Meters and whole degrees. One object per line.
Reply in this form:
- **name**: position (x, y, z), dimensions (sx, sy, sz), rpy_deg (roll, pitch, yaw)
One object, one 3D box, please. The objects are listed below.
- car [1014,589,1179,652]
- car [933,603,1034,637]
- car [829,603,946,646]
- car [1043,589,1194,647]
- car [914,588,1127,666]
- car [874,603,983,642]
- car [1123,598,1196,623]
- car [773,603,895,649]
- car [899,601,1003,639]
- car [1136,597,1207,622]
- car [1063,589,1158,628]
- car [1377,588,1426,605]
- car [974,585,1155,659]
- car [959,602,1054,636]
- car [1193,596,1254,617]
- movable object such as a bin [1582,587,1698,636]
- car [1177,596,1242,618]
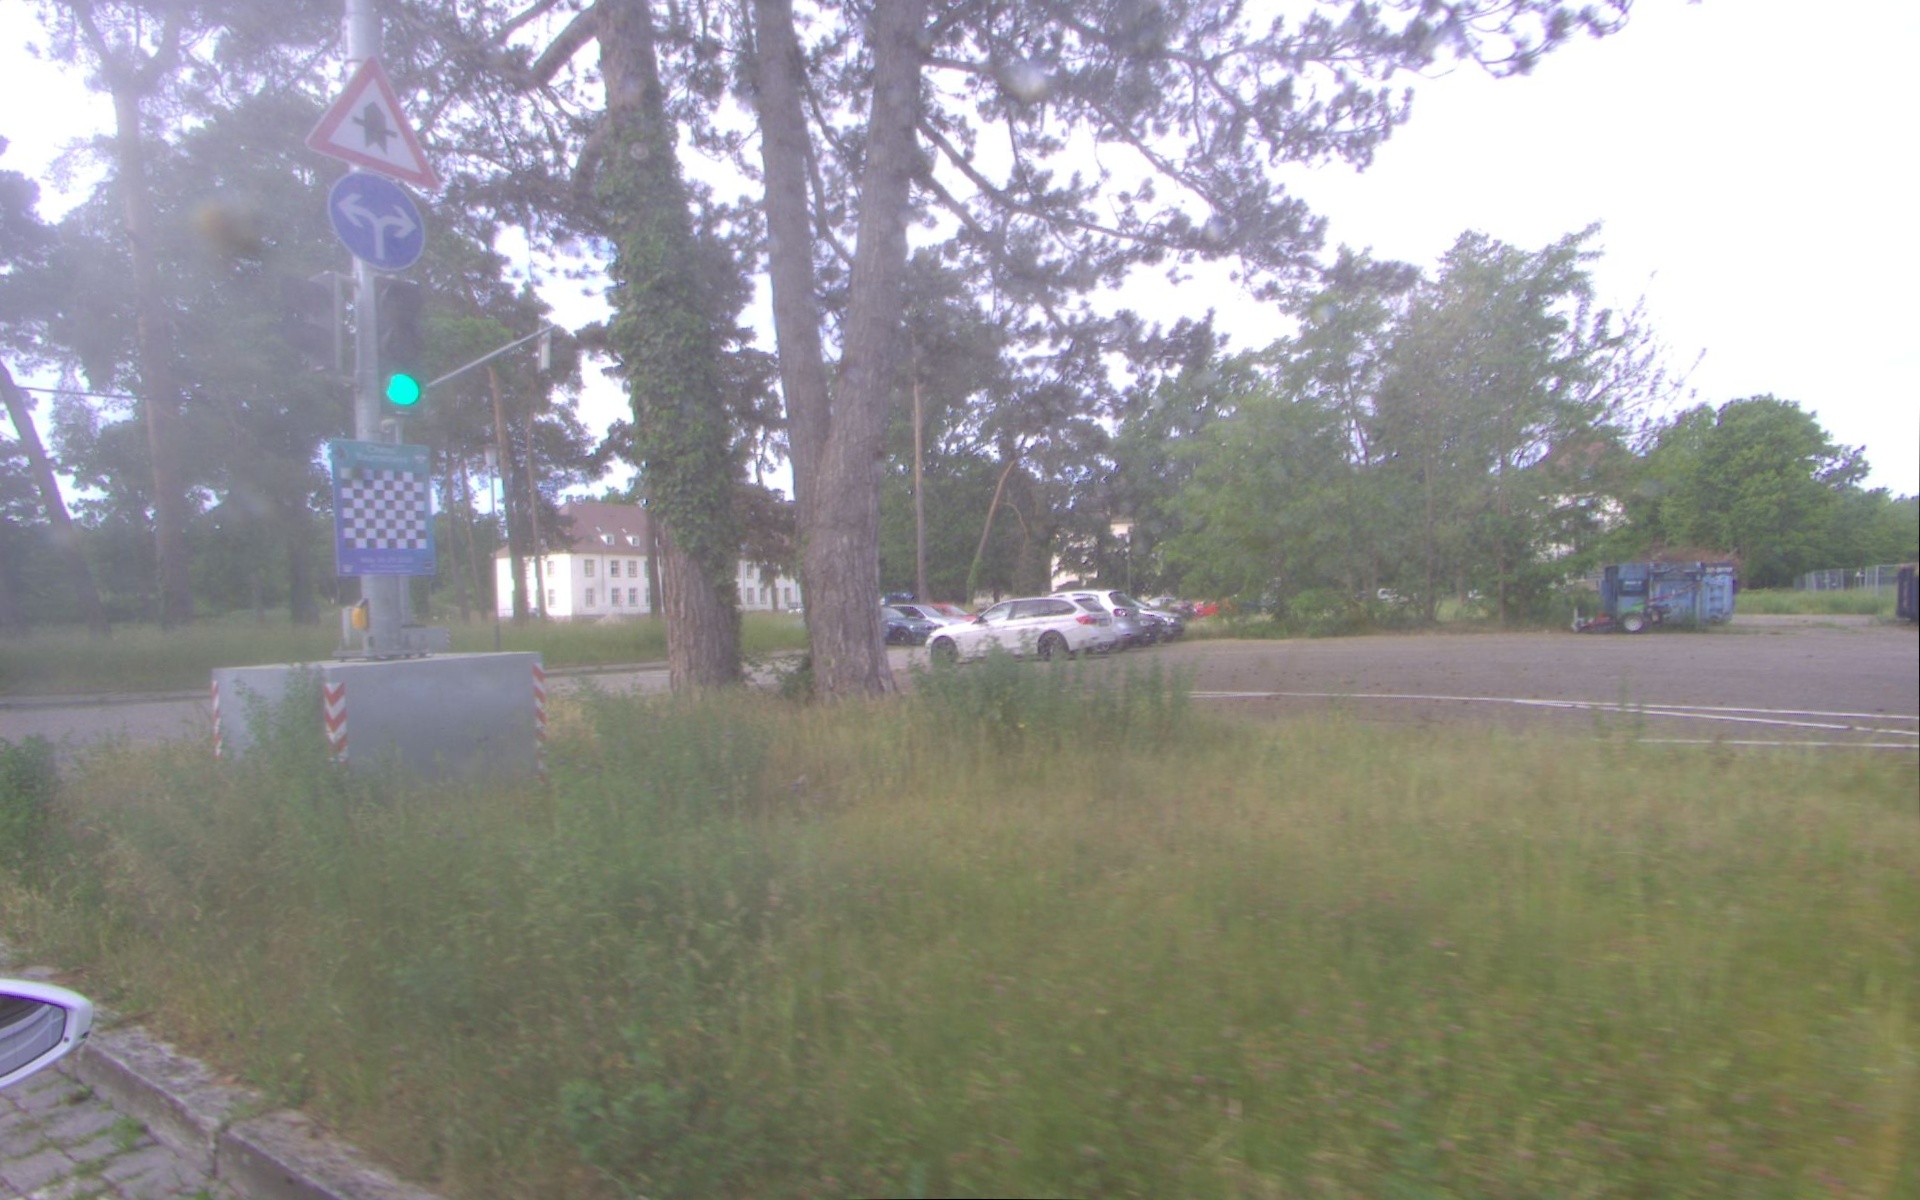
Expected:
- **car**: position (3.768, 0.589, 27.915), dimensions (4.187, 1.504, 1.696), rpy_deg (-4, -1, 34)
- **car**: position (1.000, 0.874, 43.779), dimensions (4.190, 1.409, 1.727), rpy_deg (-1, 0, 38)
- **car**: position (-2.736, 0.896, 37.325), dimensions (4.184, 1.487, 1.729), rpy_deg (-1, 0, 34)
- **car**: position (4.793, 0.575, 30.506), dimensions (4.187, 1.504, 1.696), rpy_deg (-4, -1, 34)
- **car**: position (1.364, 0.660, 23.204), dimensions (4.542, 1.505, 1.846), rpy_deg (-4, -2, 29)
- **car**: position (-1.286, 0.877, 39.670), dimensions (4.190, 1.487, 1.727), rpy_deg (-1, 0, 38)
- **car**: position (12.525, 0.648, 62.931), dimensions (4.183, 1.541, 1.730), rpy_deg (-1, 0, 33)
- **car**: position (-4.464, 0.889, 35.309), dimensions (4.184, 1.529, 1.729), rpy_deg (-1, 0, 34)
- **car**: position (-0.404, 0.821, 41.917), dimensions (4.190, 1.487, 1.727), rpy_deg (-1, 0, 38)
- **car**: position (13.811, 0.633, 65.424), dimensions (4.183, 1.541, 1.730), rpy_deg (-1, 0, 33)
- **car**: position (8.317, 0.471, 55.399), dimensions (4.725, 2.053, 2.130), rpy_deg (-1, 0, 34)
- **car**: position (54.499, -0.379, 123.632), dimensions (5.223, 1.980, 2.079), rpy_deg (-1, -1, 33)
- **car**: position (2.647, 0.579, 25.516), dimensions (4.181, 1.626, 1.779), rpy_deg (-4, -1, 29)
- **car**: position (2.123, 0.863, 46.169), dimensions (4.190, 1.492, 1.727), rpy_deg (-1, 0, 38)
- **car**: position (19.953, 0.482, 75.903), dimensions (4.183, 1.541, 1.730), rpy_deg (-1, 0, 33)
- **movable object such as a bin**: position (16.555, 0.302, 24.460), dimensions (2.176, 1.149, 0.960), rpy_deg (-1, -1, 23)
- **car**: position (17.828, 0.527, 71.657), dimensions (4.183, 1.541, 1.730), rpy_deg (-1, 0, 33)
